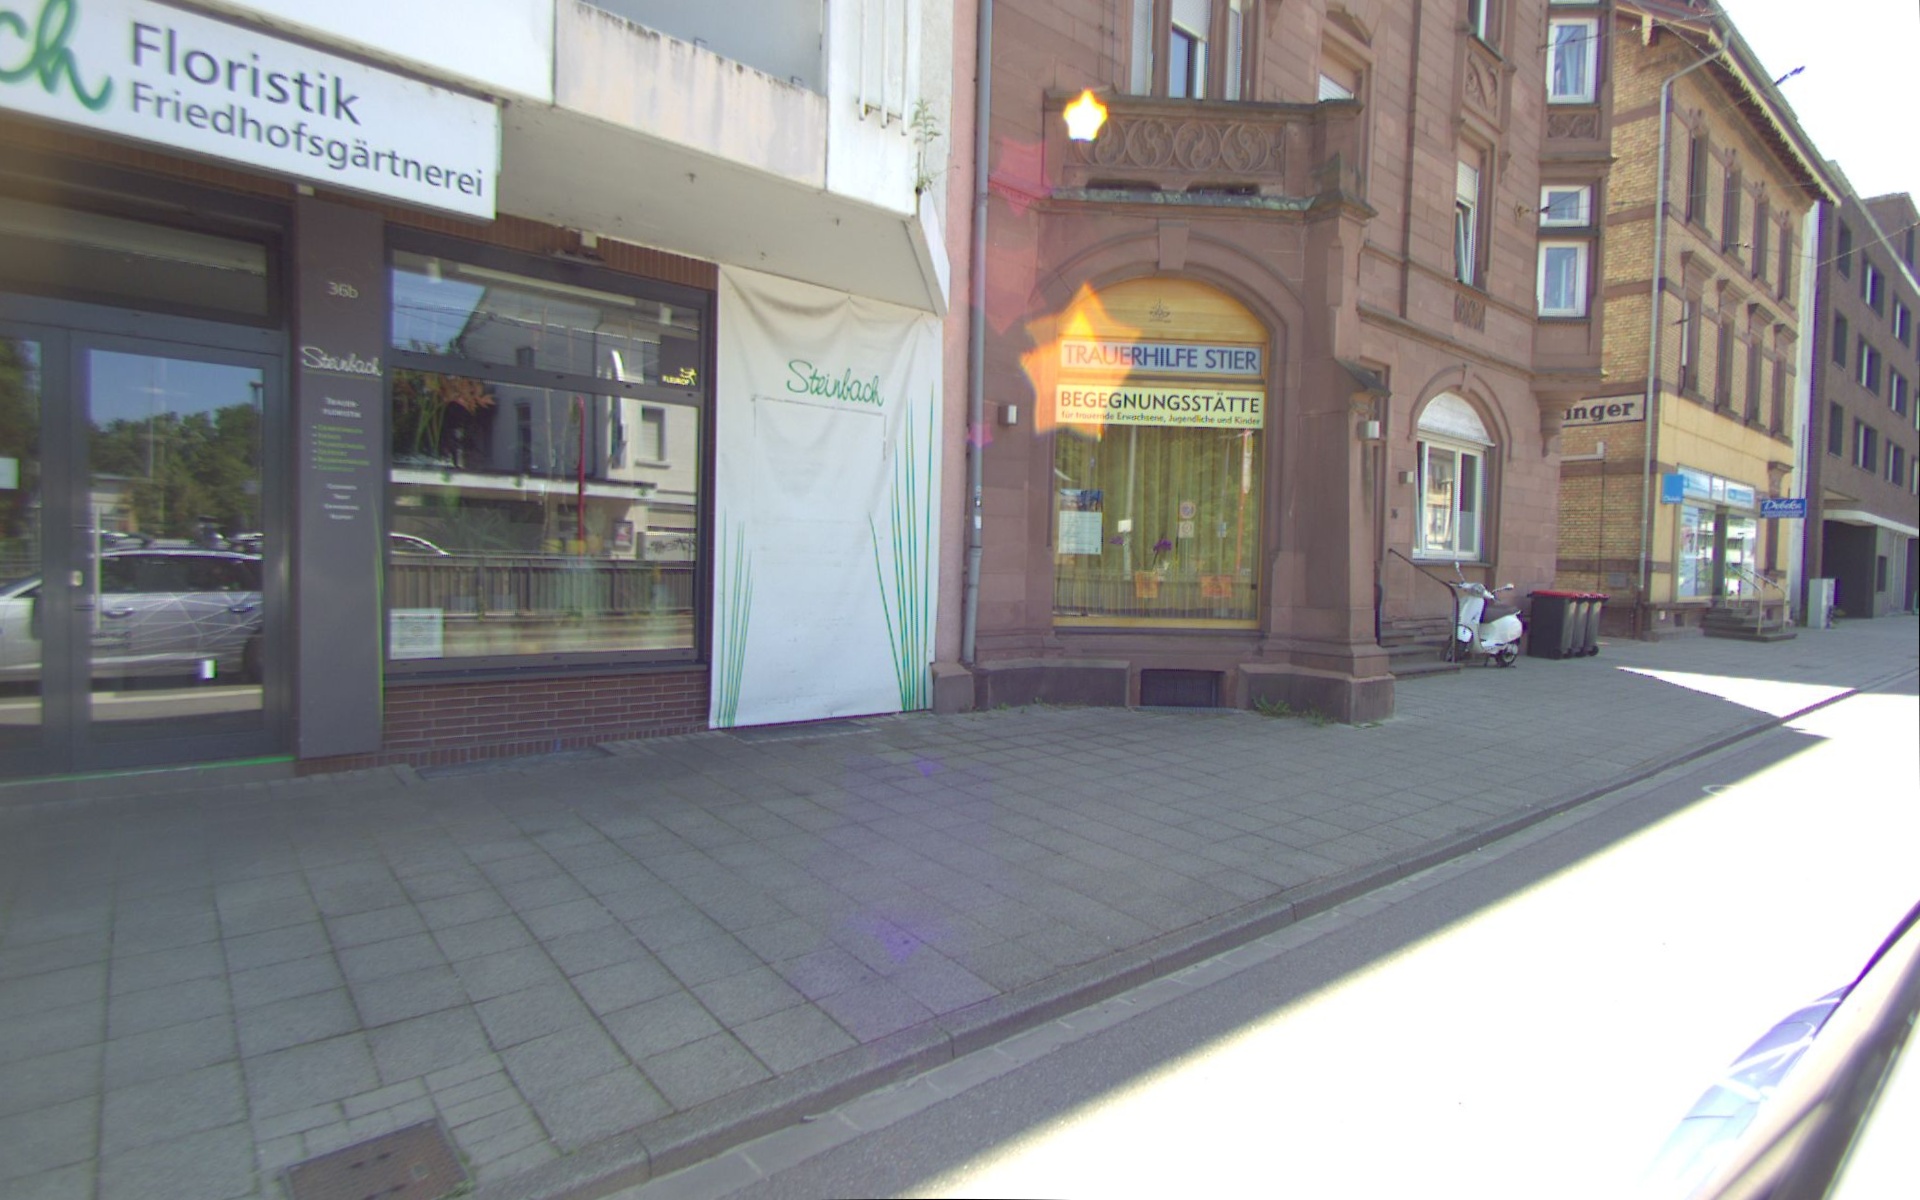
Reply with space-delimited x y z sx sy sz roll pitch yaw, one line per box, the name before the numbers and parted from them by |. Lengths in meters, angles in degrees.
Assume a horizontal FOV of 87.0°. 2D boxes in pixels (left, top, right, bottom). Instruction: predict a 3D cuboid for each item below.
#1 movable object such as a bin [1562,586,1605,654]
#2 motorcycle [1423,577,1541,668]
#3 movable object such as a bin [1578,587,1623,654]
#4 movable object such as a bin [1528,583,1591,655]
movable object such as a bin | 10.067 0.311 16.347 0.549 1.060 0.376 0 4 -40
motorcycle | 7.126 0.280 13.782 1.843 1.163 0.529 0 2 -32
movable object such as a bin | 10.585 0.332 16.722 0.646 1.060 0.376 0 4 -40
movable object such as a bin | 9.535 0.290 16.104 0.549 1.060 0.649 0 5 -40
